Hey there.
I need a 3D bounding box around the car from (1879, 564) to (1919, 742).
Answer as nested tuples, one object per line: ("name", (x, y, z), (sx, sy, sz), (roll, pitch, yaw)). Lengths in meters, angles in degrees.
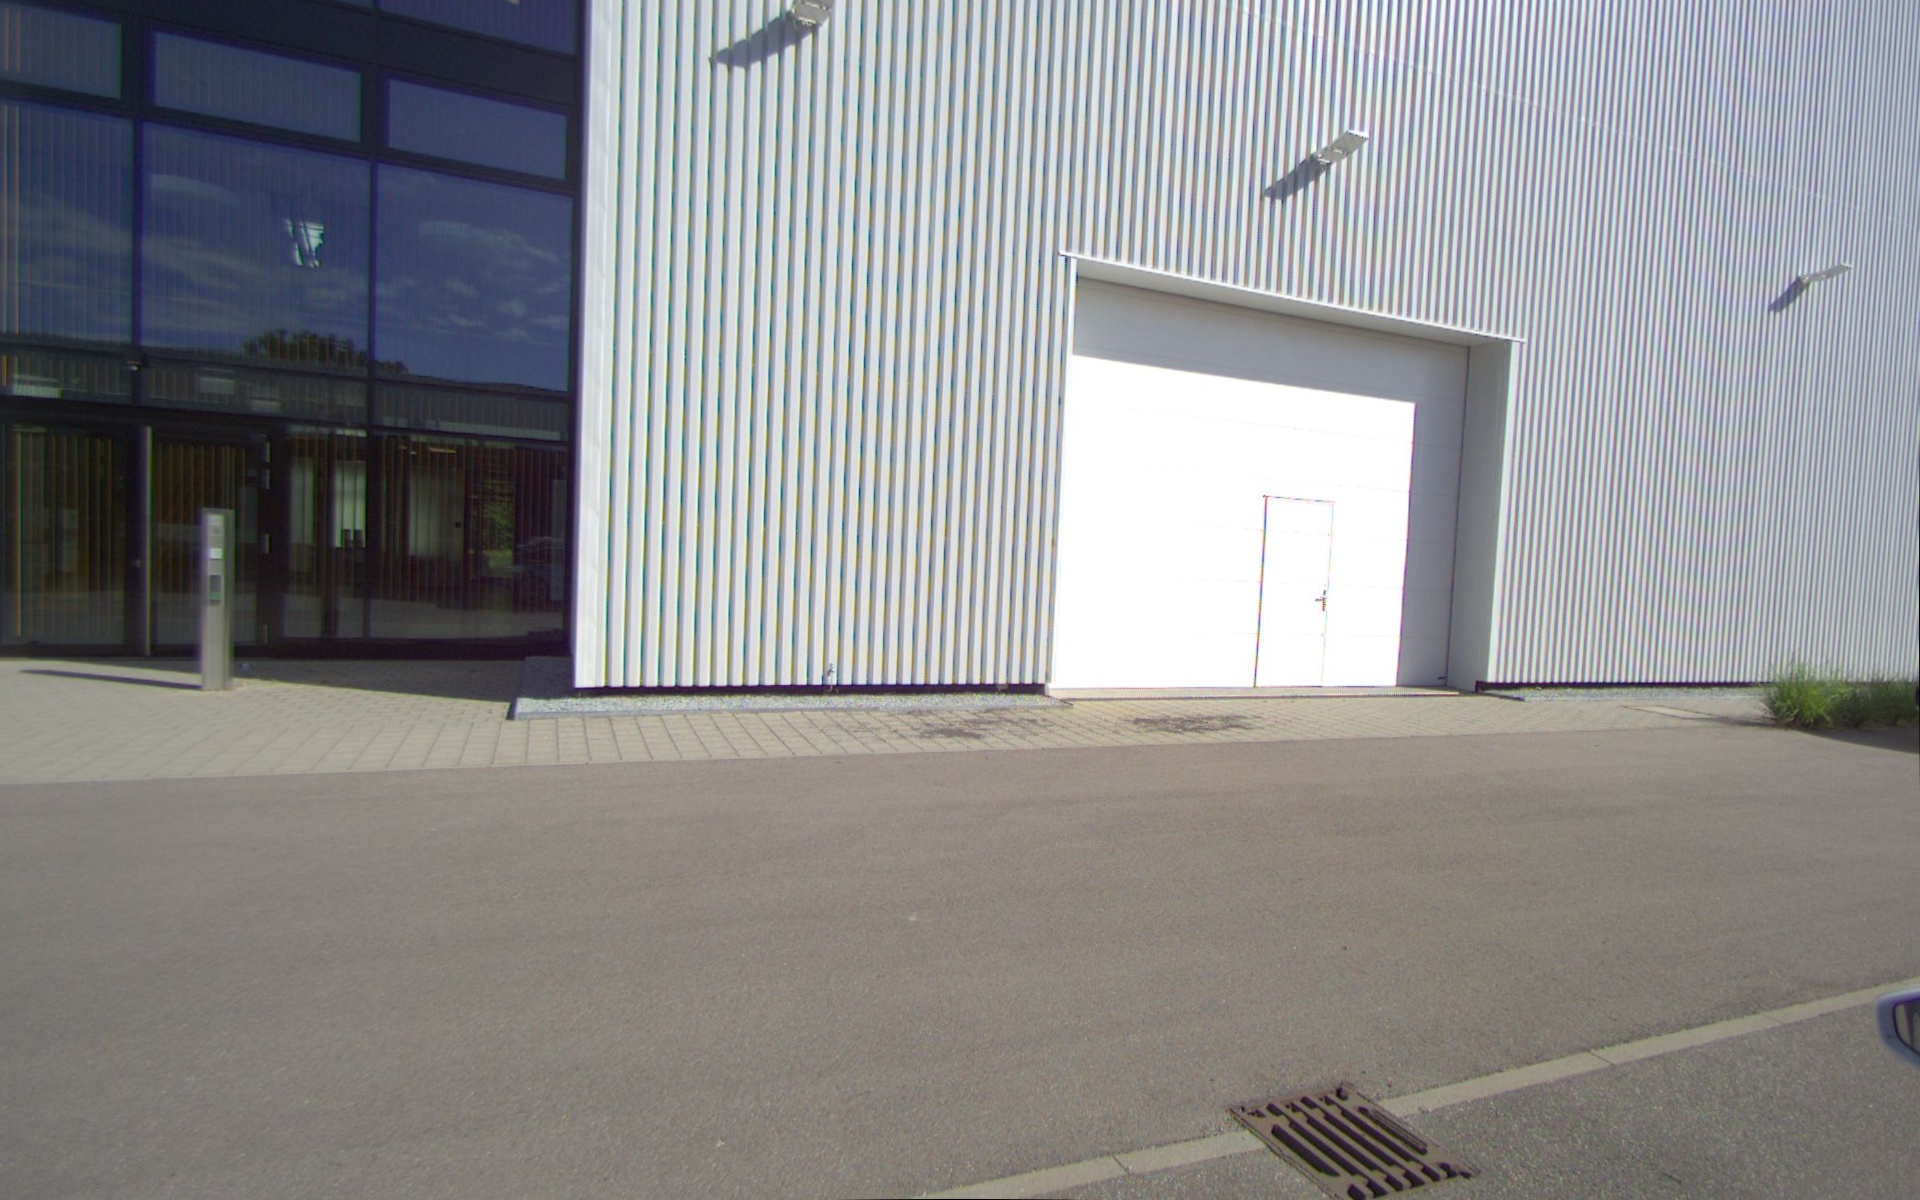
("car", (12.406, 0.688, 10.907), (4.297, 1.870, 1.885), (2, 4, -24))
